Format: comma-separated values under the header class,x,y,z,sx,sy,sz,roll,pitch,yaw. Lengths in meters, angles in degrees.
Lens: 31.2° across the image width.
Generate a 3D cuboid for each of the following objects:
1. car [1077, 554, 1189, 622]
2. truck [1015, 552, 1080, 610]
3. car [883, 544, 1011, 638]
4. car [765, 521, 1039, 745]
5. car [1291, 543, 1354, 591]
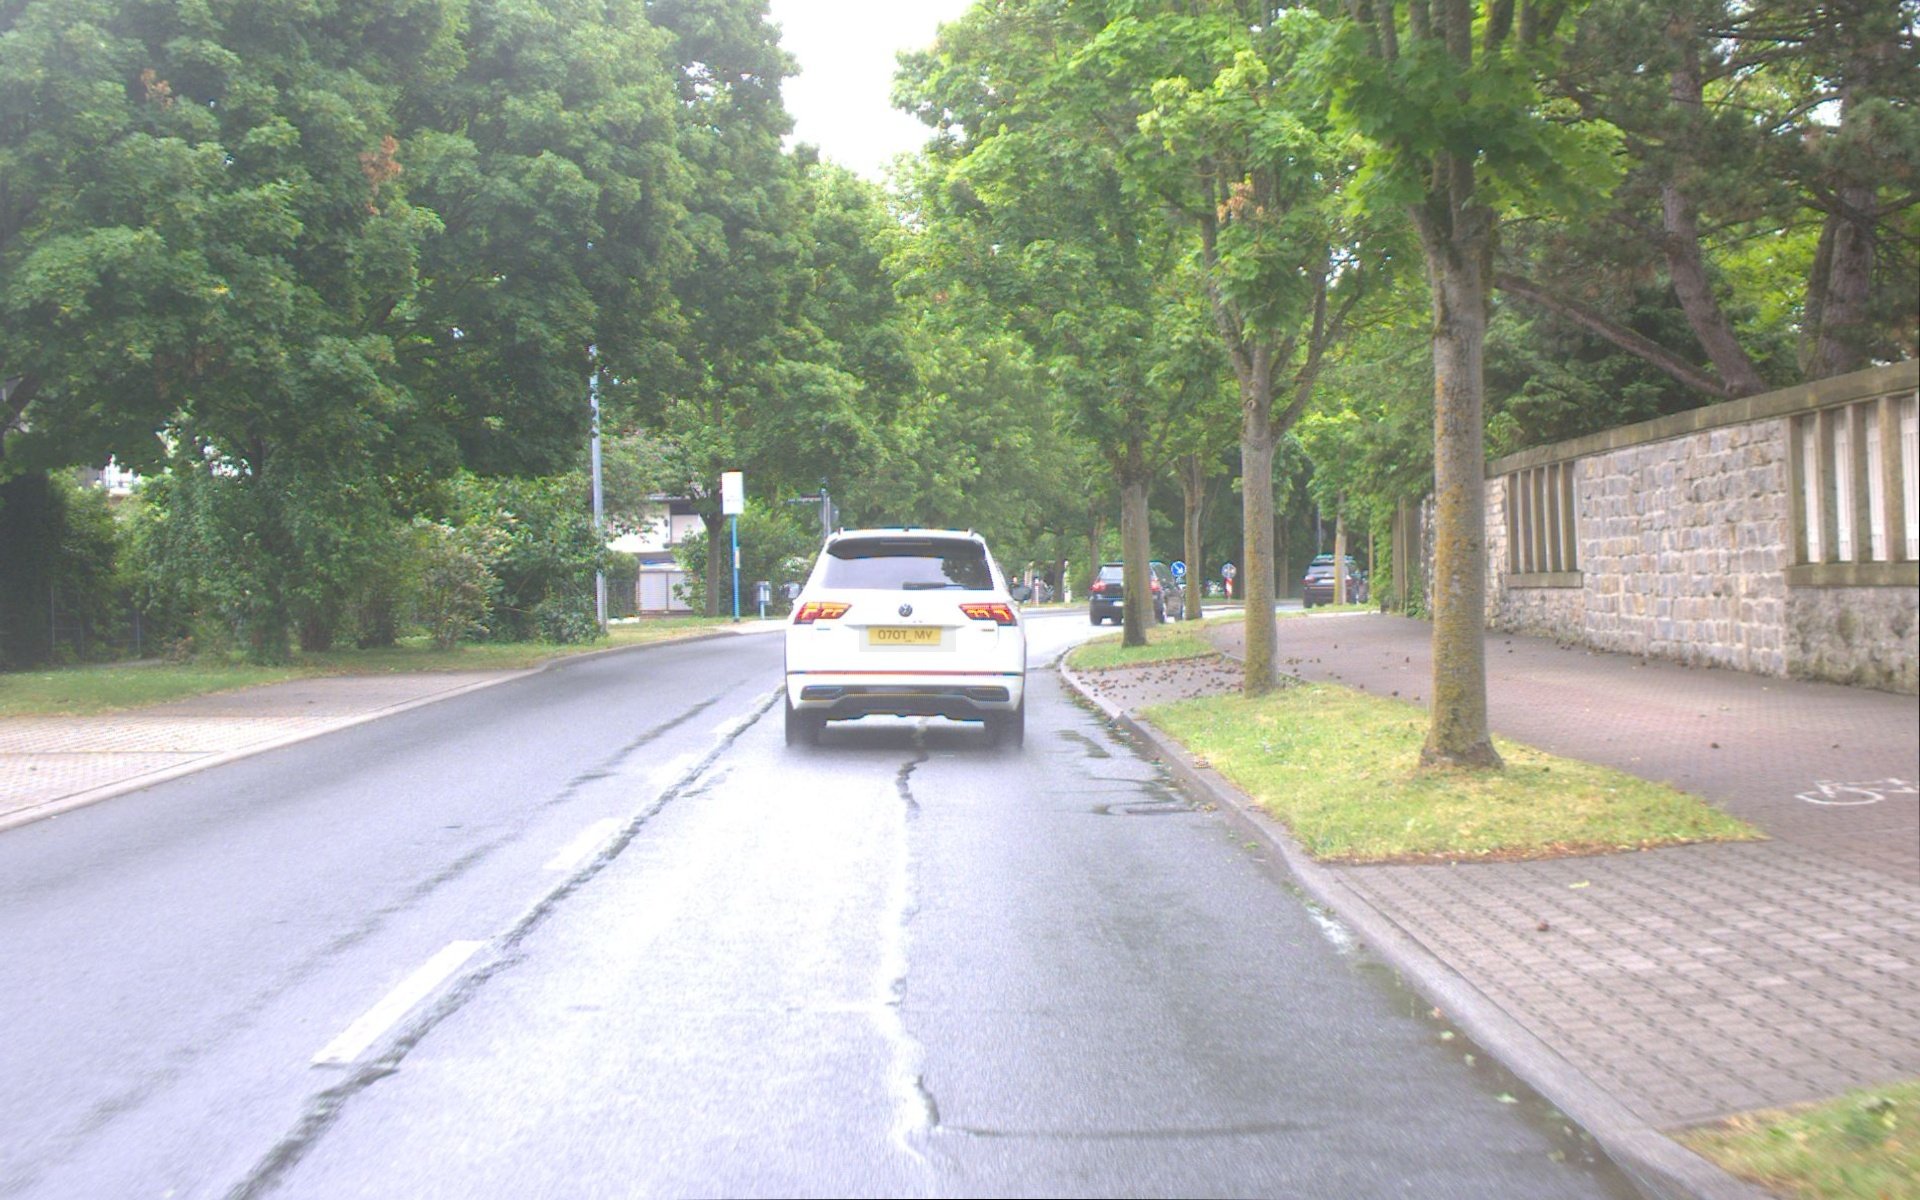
class,x,y,z,sx,sy,sz,roll,pitch,yaw
car,4.070,-0.292,80.310,1.842,1.482,3.997,2,1,14
truck,4.060,-0.871,158.707,2.285,2.588,5.872,-1,0,8
car,-0.184,-0.142,59.421,1.841,1.482,3.999,-2,0,4
car,-0.474,0.205,27.161,1.996,1.626,4.000,0,1,-1
car,12.143,-1.076,115.041,1.841,1.482,3.998,-2,0,9
